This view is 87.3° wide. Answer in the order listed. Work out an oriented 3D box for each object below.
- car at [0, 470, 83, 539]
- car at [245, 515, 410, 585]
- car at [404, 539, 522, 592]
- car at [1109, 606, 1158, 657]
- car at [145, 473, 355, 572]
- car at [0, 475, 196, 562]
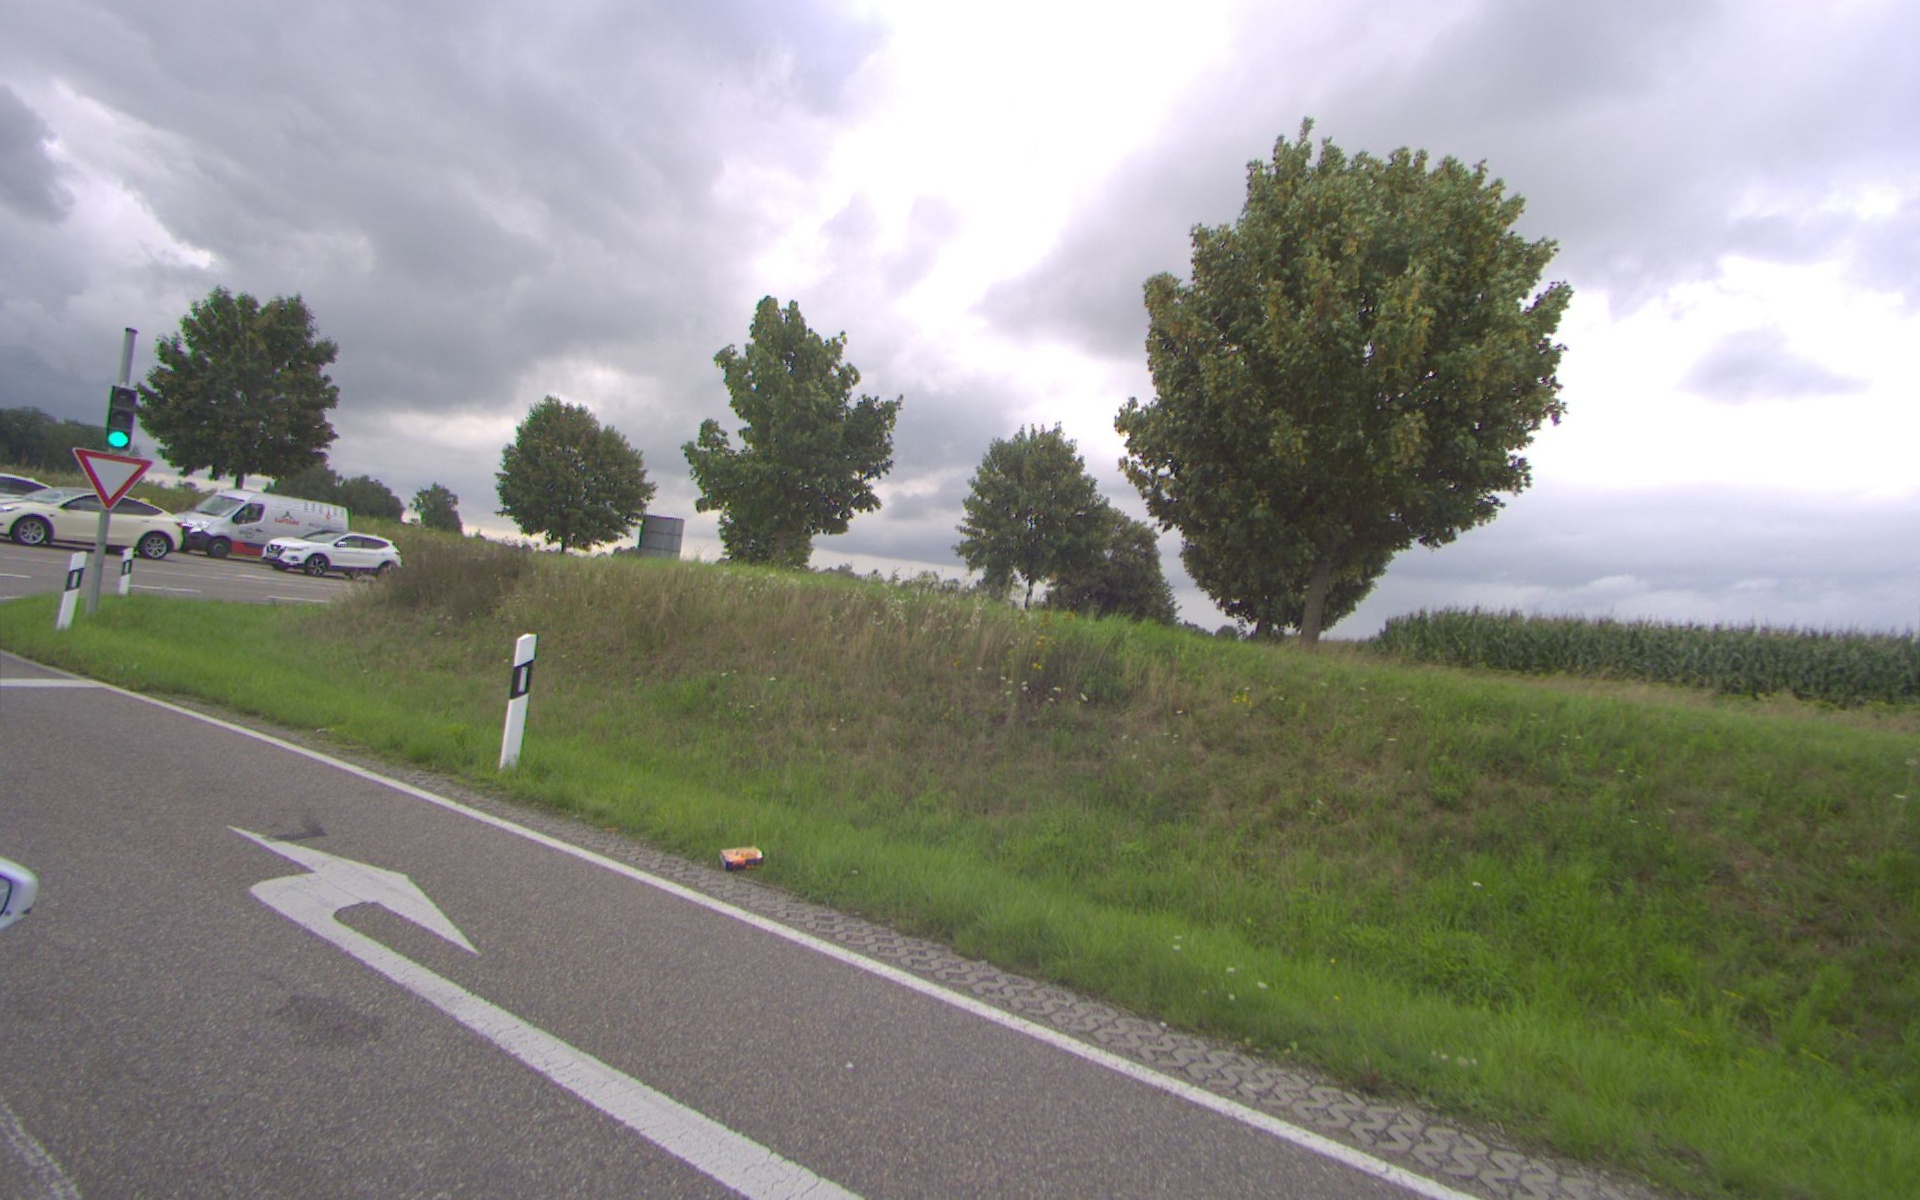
[{"bbox_3d":[-27.197,-2.861,27.553,1.962,1.647,4.279,7,-2,18],"label":"car"},{"bbox_3d":[-21.234,-1.628,33.993,1.963,1.648,4.326,7,-2,19],"label":"car"},{"bbox_3d":[-21.395,-1.442,43.516,1.963,1.647,4.278,7,-2,19],"label":"car"},{"bbox_3d":[8.203,1.528,47.208,1.962,2.037,4.005,7,-2,11],"label":"car"},{"bbox_3d":[-24.857,-2.636,35.550,2.354,2.470,5.517,7,-2,19],"label":"car"},{"bbox_3d":[-23.491,-2.174,26.666,1.963,1.582,4.752,7,-2,19],"label":"car"}]
